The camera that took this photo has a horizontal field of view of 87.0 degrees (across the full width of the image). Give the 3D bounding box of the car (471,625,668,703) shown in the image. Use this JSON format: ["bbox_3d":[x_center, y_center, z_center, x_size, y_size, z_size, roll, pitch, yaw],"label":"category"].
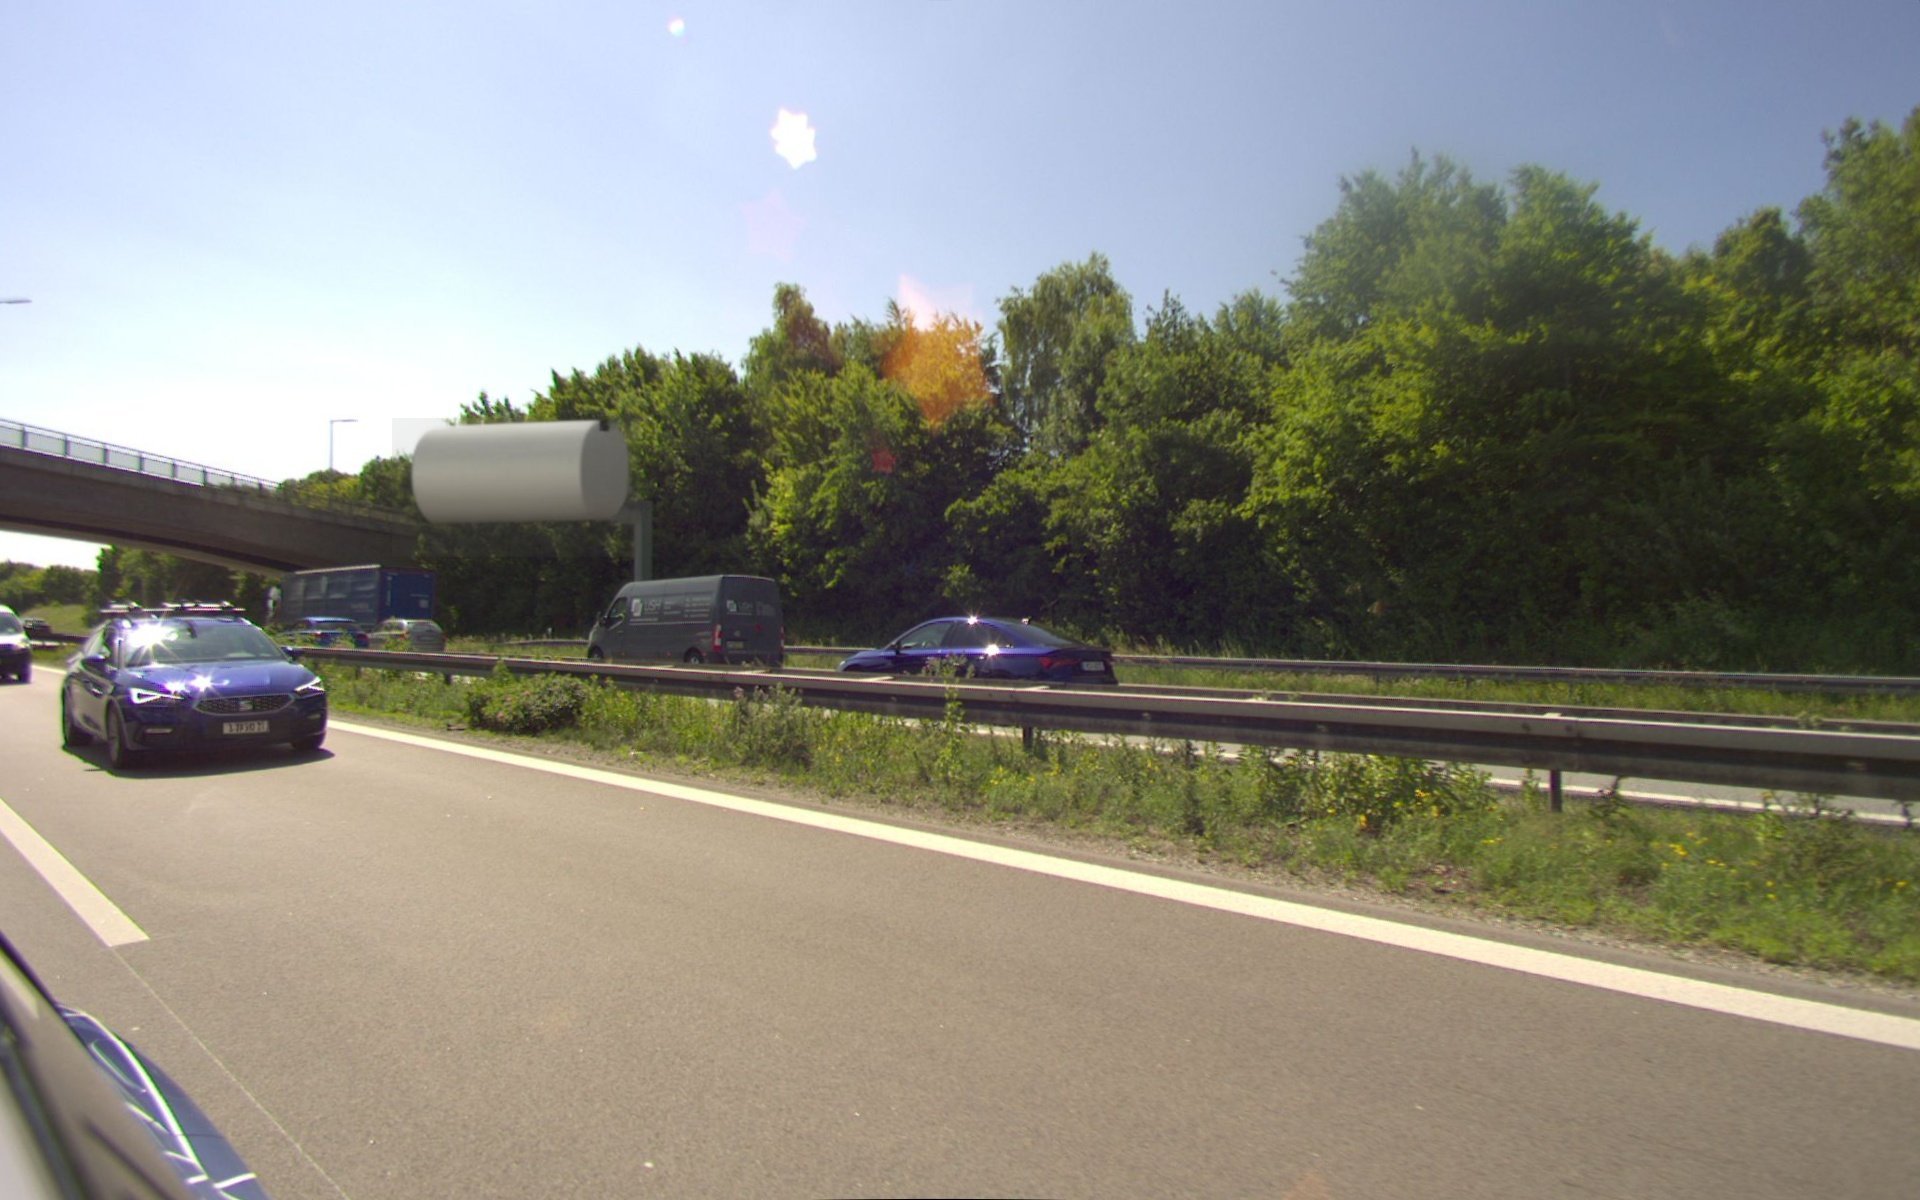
[{"bbox_3d":[-7.881,1.202,20.218,4.541,1.386,1.707,-1,-2,40],"label":"car"}]

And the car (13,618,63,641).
[{"bbox_3d":[-60.833,1.947,66.734,4.431,1.495,1.862,-1,-2,40],"label":"car"}]

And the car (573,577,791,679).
[{"bbox_3d":[-7.088,0.636,25.255,6.514,2.252,1.973,0,-1,41],"label":"car"}]

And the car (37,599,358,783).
[{"bbox_3d":[-8.481,0.856,11.129,4.236,1.638,1.881,-2,-1,39],"label":"car"}]

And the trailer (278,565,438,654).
[{"bbox_3d":[-31.007,0.618,51.718,13.538,4.071,2.756,-1,-4,41],"label":"trailer"}]

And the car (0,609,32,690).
[{"bbox_3d":[-22.600,1.084,22.984,3.980,1.736,1.845,0,-1,42],"label":"car"}]

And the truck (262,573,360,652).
[{"bbox_3d":[-35.830,0.763,55.812,6.205,4.092,2.756,-1,-4,41],"label":"truck"}]

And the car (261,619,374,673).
[{"bbox_3d":[-19.935,1.381,31.355,3.998,1.547,1.884,-1,-2,41],"label":"car"}]

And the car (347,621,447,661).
[{"bbox_3d":[-20.770,1.485,37.289,4.541,1.386,1.707,-1,-2,40],"label":"car"}]
